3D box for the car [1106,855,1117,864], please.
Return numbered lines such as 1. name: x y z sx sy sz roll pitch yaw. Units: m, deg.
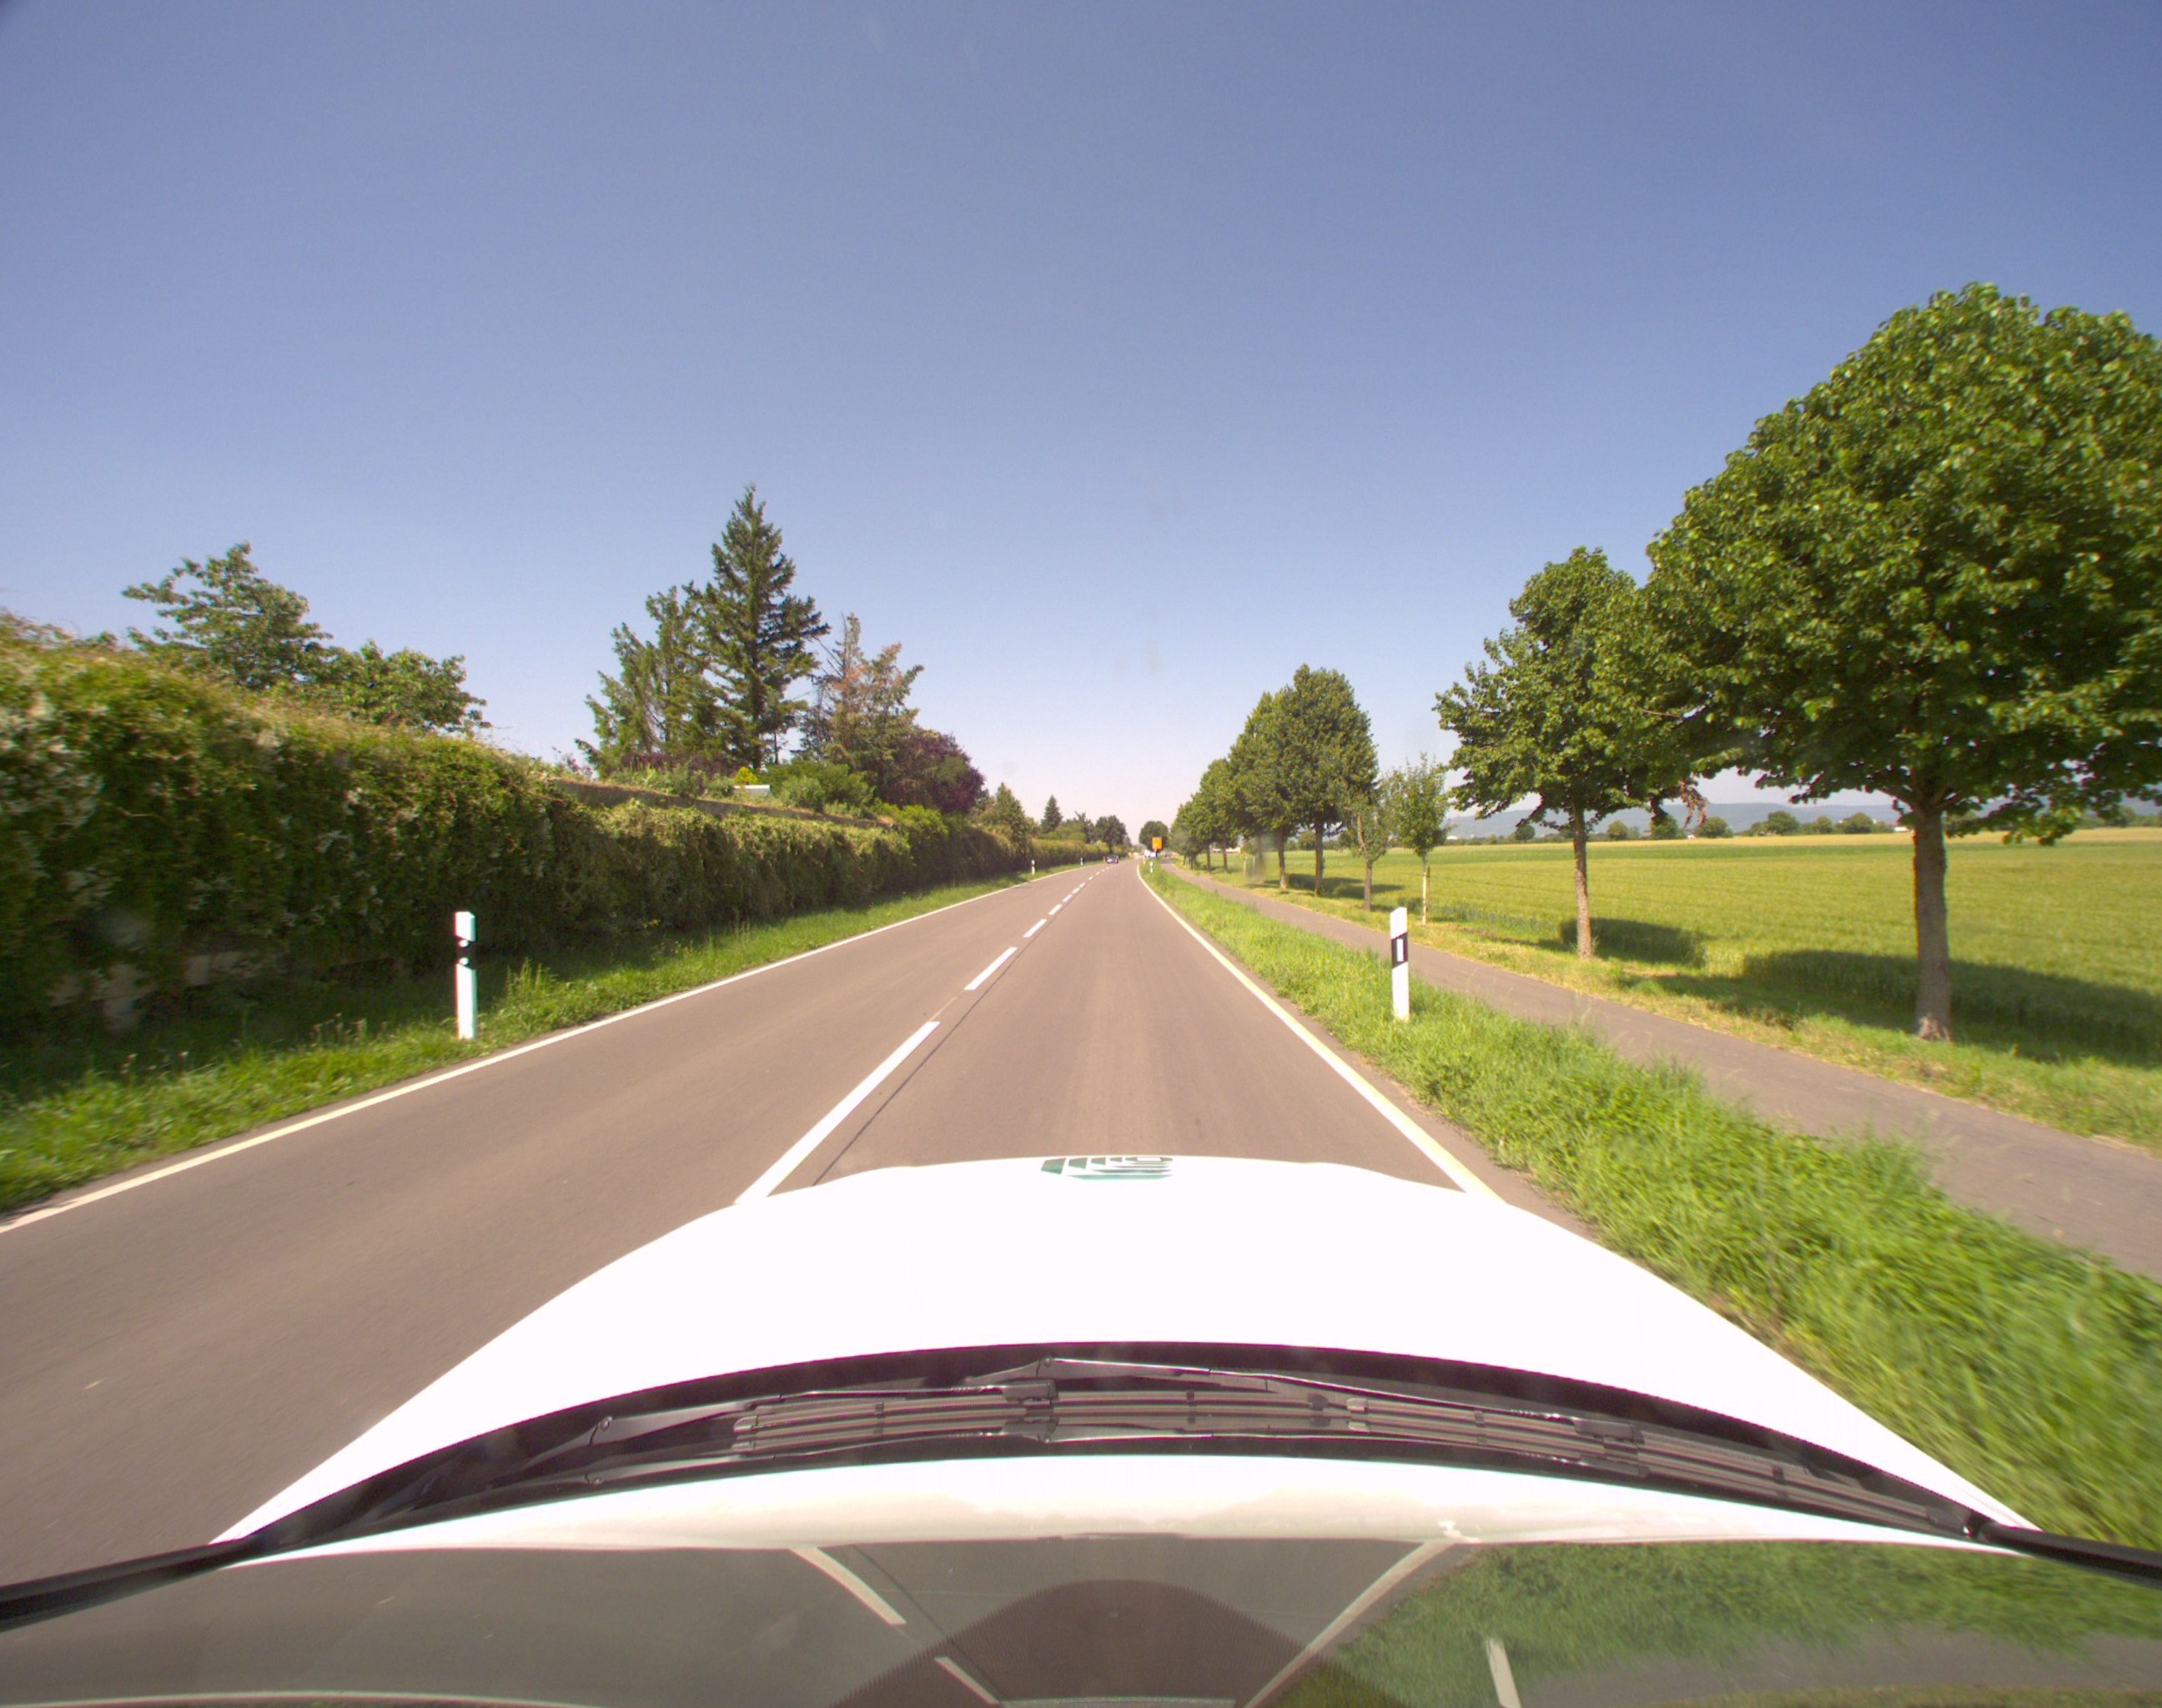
1. car: 5.312 0.945 140.383 1.833 1.467 3.935 -1 0 2
